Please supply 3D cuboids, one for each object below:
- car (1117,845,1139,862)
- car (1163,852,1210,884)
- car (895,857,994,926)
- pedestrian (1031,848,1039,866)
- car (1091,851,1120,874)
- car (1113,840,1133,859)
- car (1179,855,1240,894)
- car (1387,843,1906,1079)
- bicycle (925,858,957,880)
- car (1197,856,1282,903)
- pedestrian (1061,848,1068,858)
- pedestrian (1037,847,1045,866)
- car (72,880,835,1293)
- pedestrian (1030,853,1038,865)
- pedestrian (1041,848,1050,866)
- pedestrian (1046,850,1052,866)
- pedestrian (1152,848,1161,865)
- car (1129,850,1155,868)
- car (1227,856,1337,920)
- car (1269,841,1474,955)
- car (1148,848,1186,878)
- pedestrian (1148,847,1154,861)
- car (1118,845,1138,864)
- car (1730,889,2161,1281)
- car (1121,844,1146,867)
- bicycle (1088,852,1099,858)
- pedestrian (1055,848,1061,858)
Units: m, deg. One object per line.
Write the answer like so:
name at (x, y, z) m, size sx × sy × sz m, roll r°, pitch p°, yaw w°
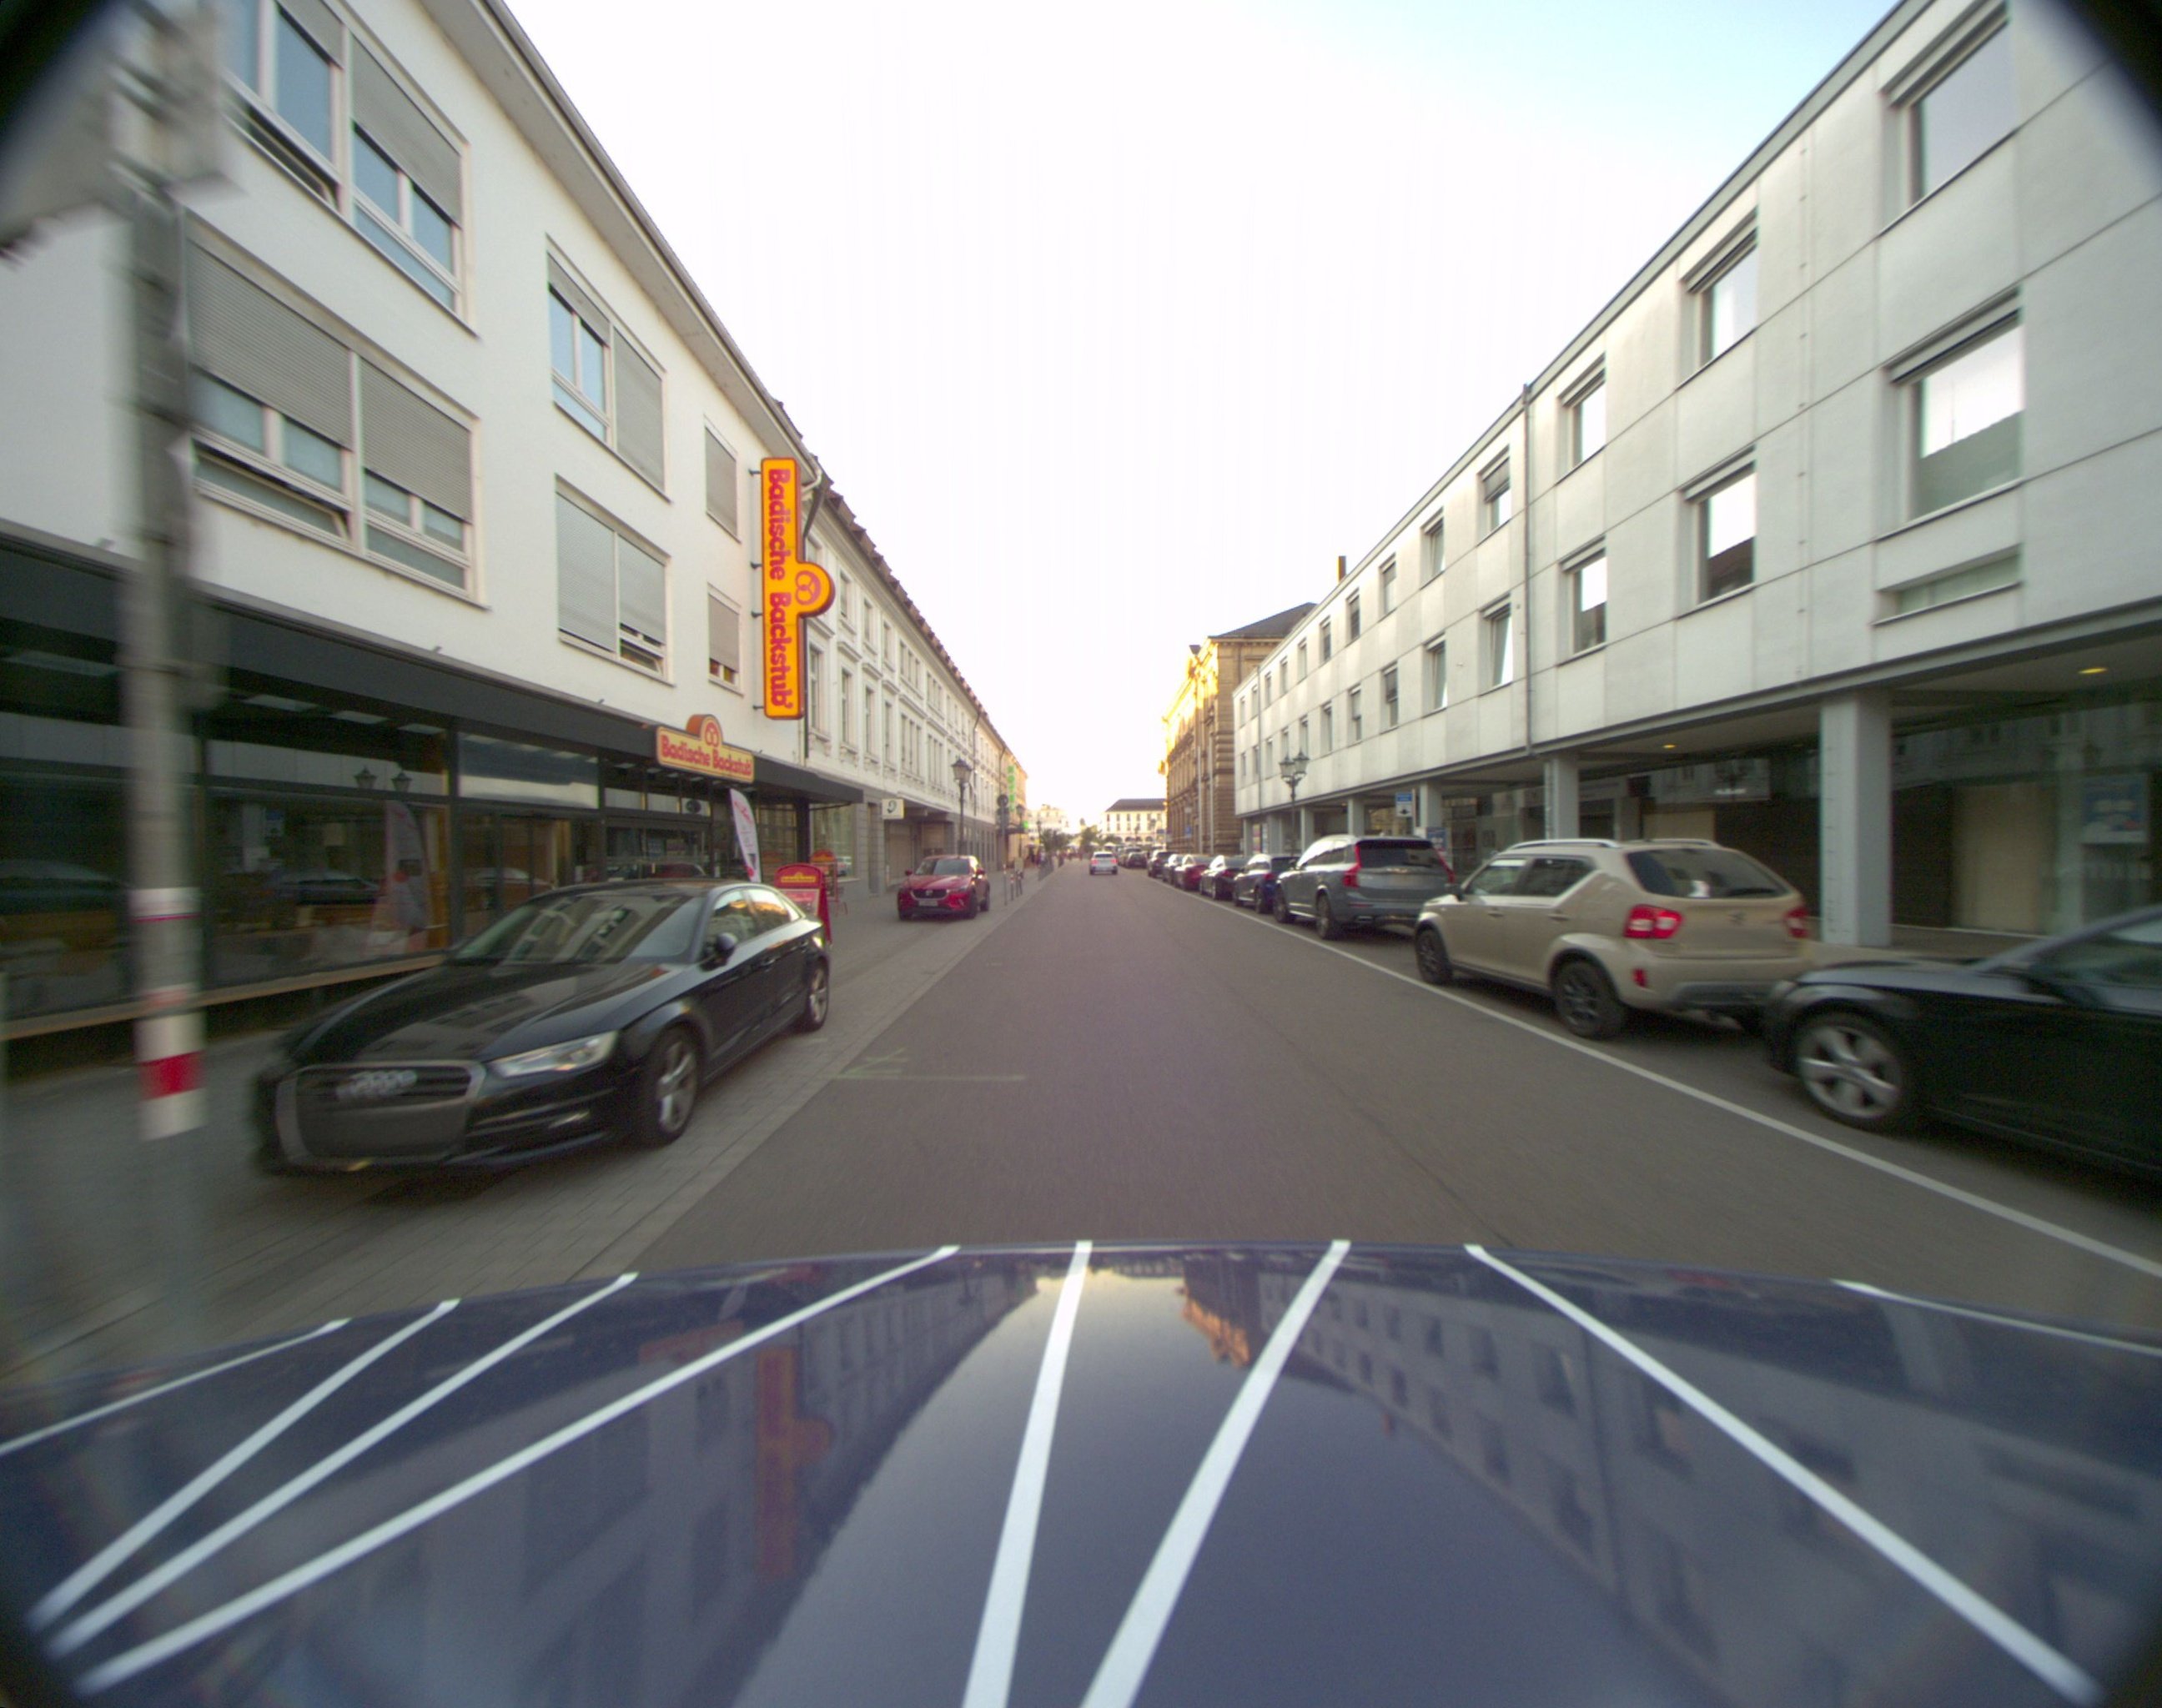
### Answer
car at (4.958, -0.088, 80.900) m, size 1.999 × 1.742 × 4.989 m, roll -1°, pitch 1°, yaw 0°
car at (5.008, 0.648, 36.514) m, size 1.789 × 1.400 × 4.088 m, roll -1°, pitch 0°, yaw 1°
car at (-3.351, 0.864, 19.304) m, size 1.764 × 1.514 × 3.677 m, roll -1°, pitch 0°, yaw 1°
pedestrian at (-4.571, 0.294, 75.643) m, size 0.715 × 1.720 × 0.873 m, roll -1°, pitch 1°, yaw 3°
car at (1.571, 0.541, 50.376) m, size 1.768 × 1.414 × 3.999 m, roll 0°, pitch 1°, yaw -1°
car at (5.111, -0.550, 93.425) m, size 1.999 × 2.158 × 5.205 m, roll -1°, pitch 0°, yaw -2°
car at (5.021, 0.765, 30.230) m, size 1.789 × 1.400 × 4.088 m, roll -1°, pitch 0°, yaw 1°
car at (4.833, 0.746, 7.401) m, size 1.999 × 1.652 × 3.999 m, roll -1°, pitch 0°, yaw -2°
bicycle at (-7.880, 0.839, 42.810) m, size 1.661 × 1.245 × 0.439 m, roll -1°, pitch 1°, yaw -2°
car at (5.113, 0.781, 25.094) m, size 1.998 × 1.346 × 4.000 m, roll 0°, pitch 0°, yaw 1°
pedestrian at (-2.695, -0.177, 124.530) m, size 0.667 × 1.720 × 0.767 m, roll 0°, pitch 1°, yaw 43°
pedestrian at (-3.927, 0.252, 74.795) m, size 0.621 × 1.779 × 0.913 m, roll -1°, pitch 1°, yaw 4°
car at (-3.160, 0.996, 5.111) m, size 1.806 × 1.455 × 4.115 m, roll -1°, pitch 1°, yaw -3°
pedestrian at (-5.565, 0.577, 89.484) m, size 0.777 × 1.351 × 0.723 m, roll -1°, pitch 1°, yaw -16°
pedestrian at (-3.549, 0.286, 76.027) m, size 0.749 × 1.720 × 0.881 m, roll -1°, pitch 1°, yaw 6°
pedestrian at (-3.472, 0.398, 83.010) m, size 0.608 × 1.720 × 0.558 m, roll -1°, pitch 1°, yaw 2°
pedestrian at (7.663, 0.247, 76.803) m, size 0.715 × 1.720 × 0.896 m, roll -4°, pitch 1°, yaw 2°
car at (5.446, 0.453, 68.088) m, size 1.998 × 1.486 × 4.164 m, roll -1°, pitch 1°, yaw 1°
car at (4.946, 0.778, 19.234) m, size 1.677 × 1.392 × 3.999 m, roll 0°, pitch 0°, yaw 0°
car at (4.945, 0.655, 13.731) m, size 1.998 × 1.718 × 4.515 m, roll 0°, pitch 0°, yaw 1°
car at (4.851, 0.475, 43.312) m, size 1.789 × 1.605 × 4.165 m, roll -1°, pitch 0°, yaw 1°
pedestrian at (8.234, -0.002, 89.721) m, size 0.608 × 1.720 × 0.703 m, roll -1°, pitch 1°, yaw 2°
car at (5.360, -0.021, 86.497) m, size 1.998 × 2.075 × 5.206 m, roll -1°, pitch 1°, yaw 1°
car at (4.930, 0.925, 2.676) m, size 1.682 × 1.346 × 4.104 m, roll -1°, pitch 0°, yaw -2°
car at (5.119, 0.116, 74.669) m, size 1.999 × 2.066 × 4.988 m, roll -1°, pitch 1°, yaw 0°
bicycle at (2.258, 0.140, 135.959) m, size 1.683 × 1.115 × 0.846 m, roll -1°, pitch 1°, yaw 35°
pedestrian at (-3.839, -0.164, 124.345) m, size 0.607 × 1.720 × 0.719 m, roll 0°, pitch 1°, yaw 43°
